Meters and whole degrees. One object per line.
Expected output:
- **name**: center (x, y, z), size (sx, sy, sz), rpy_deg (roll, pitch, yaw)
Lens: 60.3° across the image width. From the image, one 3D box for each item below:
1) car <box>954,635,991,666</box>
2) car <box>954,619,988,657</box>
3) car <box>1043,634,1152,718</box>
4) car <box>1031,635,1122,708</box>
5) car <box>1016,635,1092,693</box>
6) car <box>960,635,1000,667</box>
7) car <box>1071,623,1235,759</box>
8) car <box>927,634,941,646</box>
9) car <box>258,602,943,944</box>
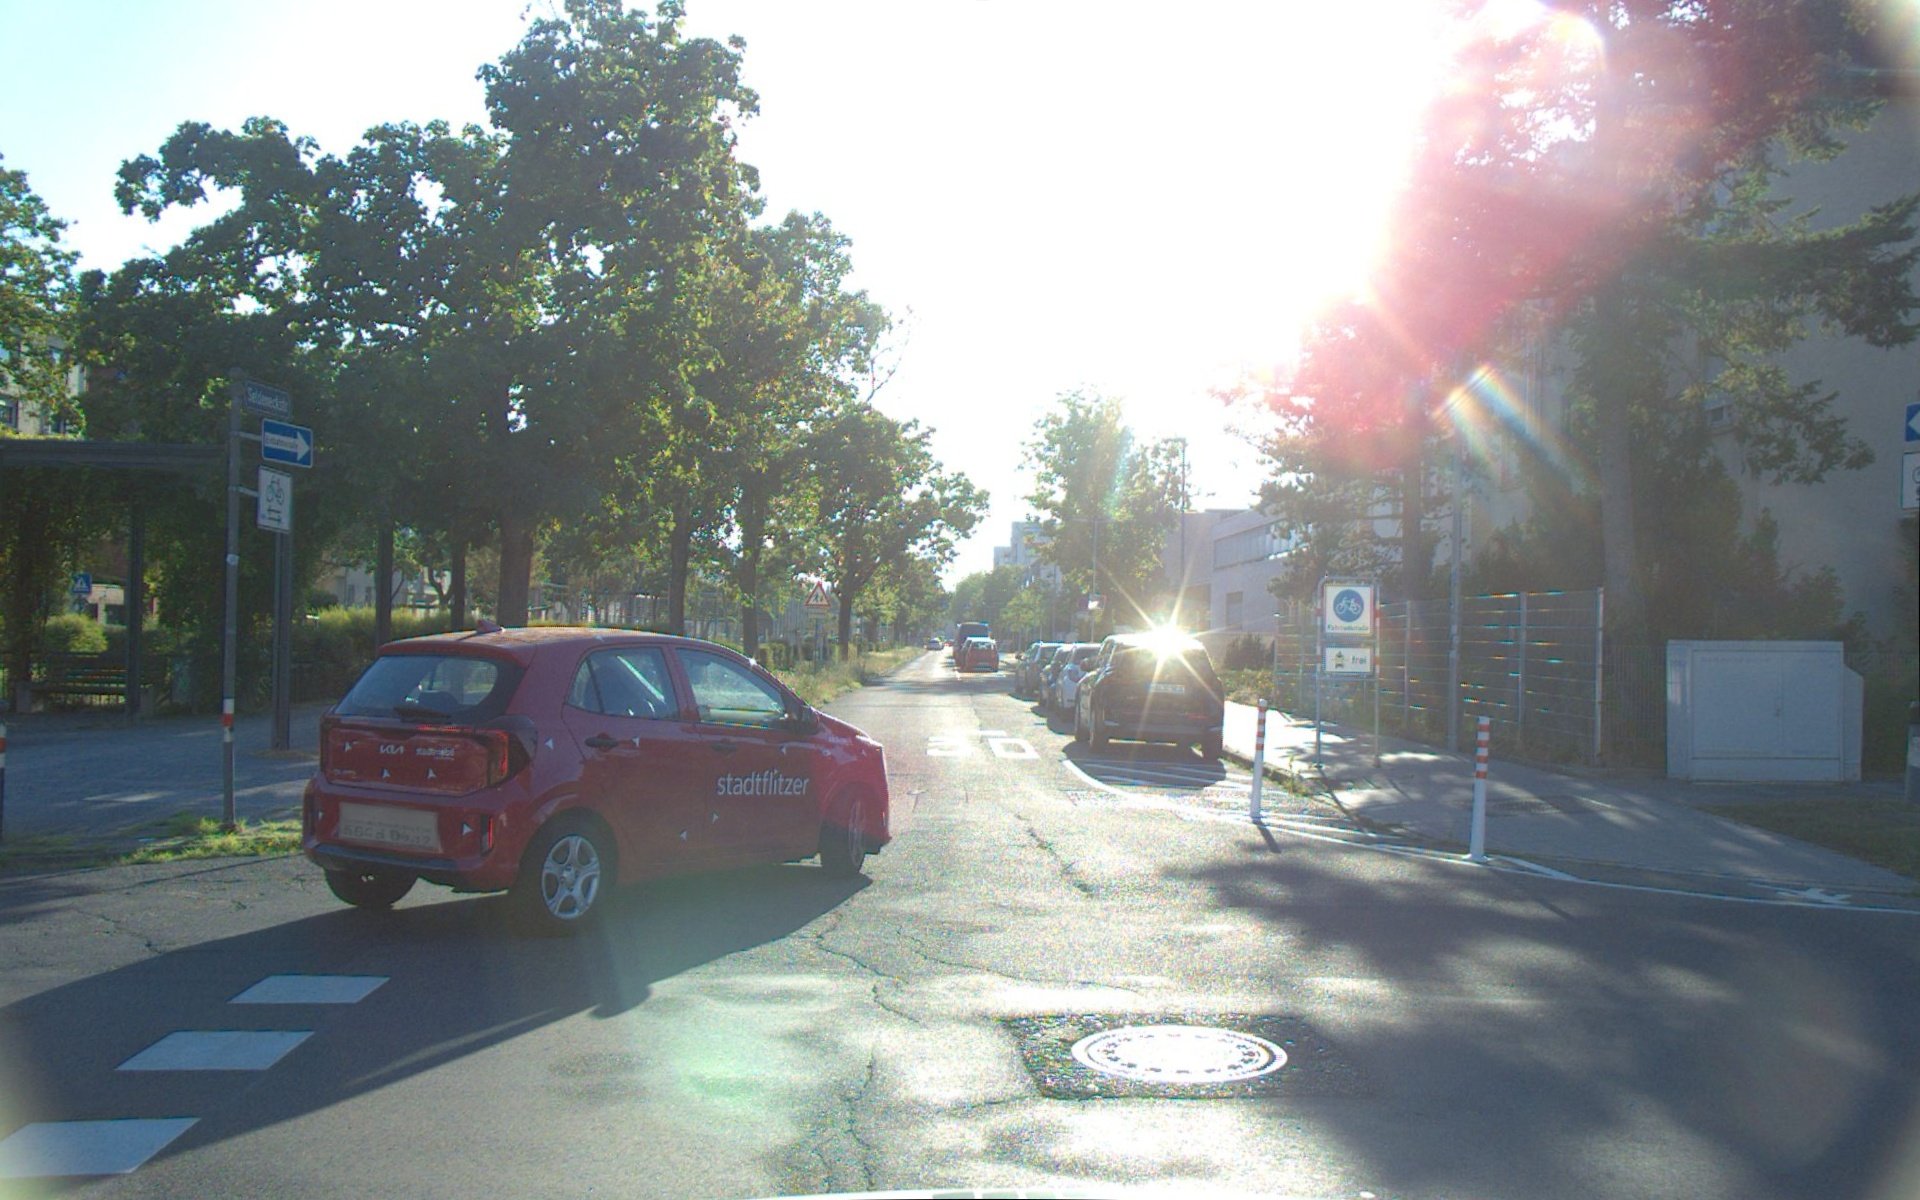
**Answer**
- **car**: center (0.621, 2.586, 85.880), size (1.695, 1.545, 3.757), rpy_deg (1, -1, -3)
- **car**: center (0.626, 2.273, 99.191), size (1.953, 2.161, 3.999), rpy_deg (1, -1, 0)
- **car**: center (2.649, 1.456, 32.654), size (1.729, 1.553, 3.771), rpy_deg (0, -1, -2)
- **car**: center (2.587, 1.582, 37.545), size (1.695, 1.545, 3.758), rpy_deg (1, -1, -1)
- **car**: center (2.620, 1.781, 46.724), size (1.730, 1.553, 3.770), rpy_deg (0, -1, -3)
- **car**: center (0.975, 2.492, 81.592), size (1.722, 1.545, 3.757), rpy_deg (1, -1, -3)
- **car**: center (2.674, 1.252, 23.811), size (1.780, 1.670, 4.215), rpy_deg (4, -1, 0)
- **car**: center (-3.587, 5.526, 229.128), size (1.828, 1.646, 3.998), rpy_deg (1, -1, -2)
- **car**: center (-1.855, 0.833, 9.585), size (1.734, 1.553, 3.762), rpy_deg (-1, -2, 33)
